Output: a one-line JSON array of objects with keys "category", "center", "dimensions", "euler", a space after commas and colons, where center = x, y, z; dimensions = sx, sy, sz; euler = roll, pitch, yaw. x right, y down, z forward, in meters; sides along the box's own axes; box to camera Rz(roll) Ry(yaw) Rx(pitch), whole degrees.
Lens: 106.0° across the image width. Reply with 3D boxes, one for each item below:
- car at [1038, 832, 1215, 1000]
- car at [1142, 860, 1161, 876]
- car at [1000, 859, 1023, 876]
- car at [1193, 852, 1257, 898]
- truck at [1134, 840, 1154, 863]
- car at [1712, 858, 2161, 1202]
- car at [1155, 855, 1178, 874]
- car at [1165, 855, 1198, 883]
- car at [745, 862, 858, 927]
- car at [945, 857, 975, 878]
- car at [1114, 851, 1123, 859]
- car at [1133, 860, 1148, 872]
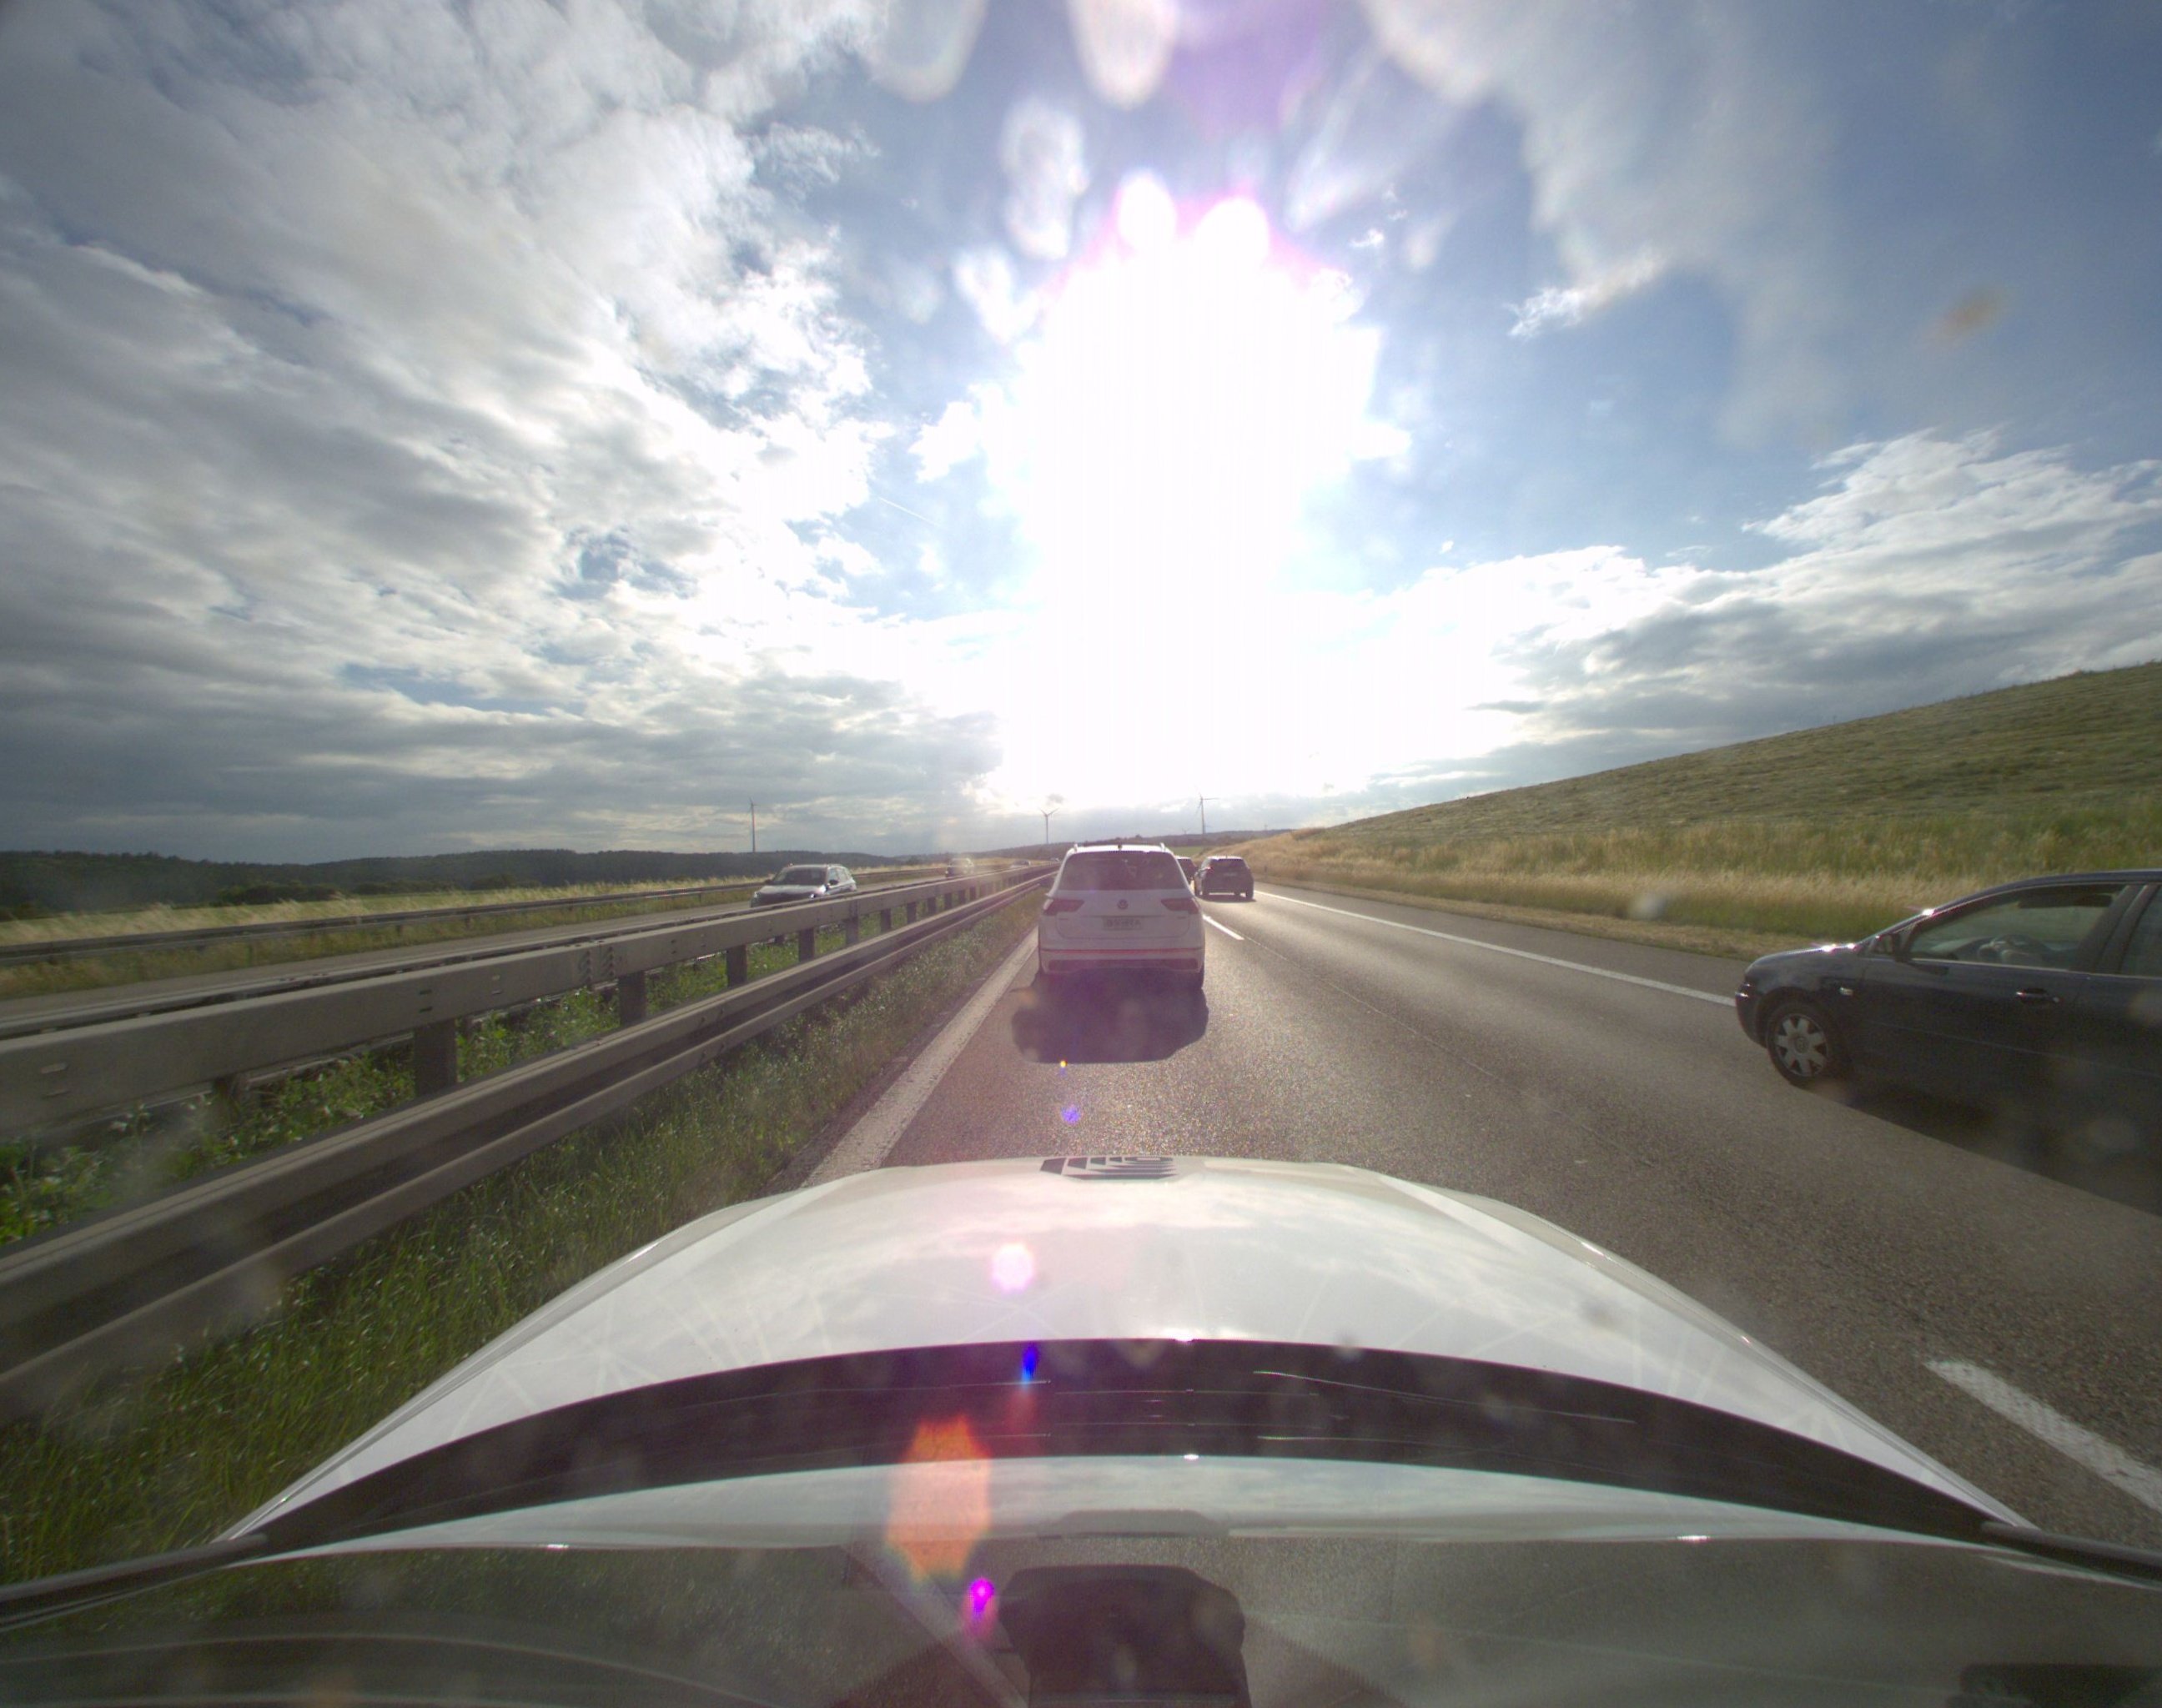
[{"category": "car", "center": [0.513, 0.641, 10.184], "dimensions": [1.763, 1.675, 4.001], "euler": [0, -1, 2]}, {"category": "car", "center": [7.155, 1.418, 82.577], "dimensions": [1.698, 1.546, 4.001], "euler": [0, -1, 2]}, {"category": "car", "center": [-5.932, 1.180, 70.006], "dimensions": [1.610, 1.392, 4.000], "euler": [0, -1, 1]}, {"category": "car", "center": [5.102, 0.716, 29.265], "dimensions": [1.698, 1.546, 4.001], "euler": [0, -1, 2]}, {"category": "truck", "center": [10.554, -0.410, 137.032], "dimensions": [3.170, 3.594, 11.141], "euler": [0, 0, 4]}, {"category": "car", "center": [5.288, 0.733, 3.970], "dimensions": [1.600, 1.420, 3.672], "euler": [0, -1, 0]}, {"category": "car", "center": [7.322, 0.921, 69.864], "dimensions": [1.698, 1.546, 4.001], "euler": [0, -1, 2]}, {"category": "car", "center": [6.304, 0.920, 51.502], "dimensions": [1.698, 1.650, 4.001], "euler": [0, -1, 2]}, {"category": "car", "center": [-7.435, 1.022, 22.067], "dimensions": [1.610, 1.585, 4.065], "euler": [0, -1, 1]}, {"category": "car", "center": [-9.316, 1.024, 62.911], "dimensions": [1.610, 1.521, 4.000], "euler": [0, -1, 1]}, {"category": "car", "center": [7.435, 0.249, 162.899], "dimensions": [1.698, 1.546, 4.001], "euler": [0, -1, 2]}, {"category": "car", "center": [7.517, 1.508, 103.435], "dimensions": [1.698, 1.546, 4.001], "euler": [0, -1, 2]}]
